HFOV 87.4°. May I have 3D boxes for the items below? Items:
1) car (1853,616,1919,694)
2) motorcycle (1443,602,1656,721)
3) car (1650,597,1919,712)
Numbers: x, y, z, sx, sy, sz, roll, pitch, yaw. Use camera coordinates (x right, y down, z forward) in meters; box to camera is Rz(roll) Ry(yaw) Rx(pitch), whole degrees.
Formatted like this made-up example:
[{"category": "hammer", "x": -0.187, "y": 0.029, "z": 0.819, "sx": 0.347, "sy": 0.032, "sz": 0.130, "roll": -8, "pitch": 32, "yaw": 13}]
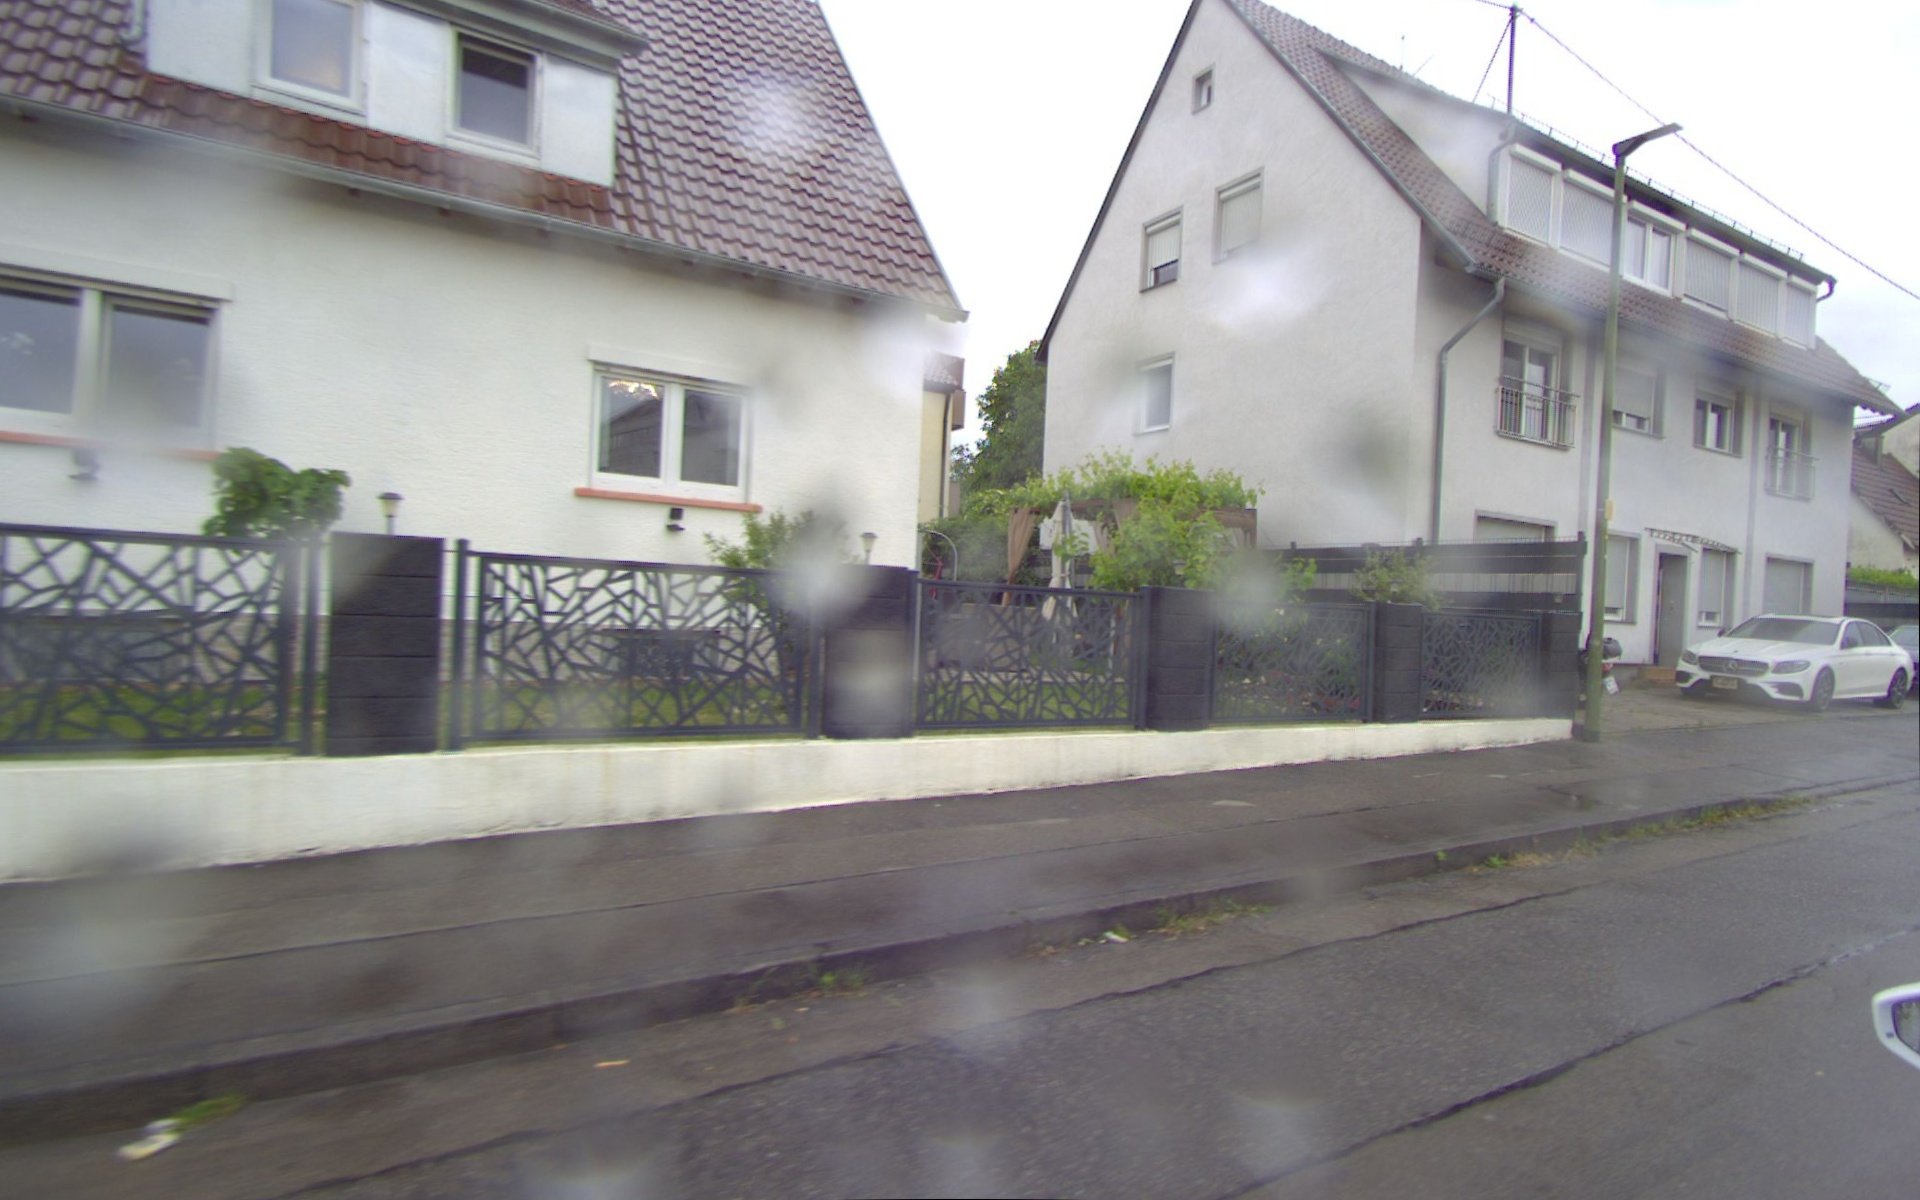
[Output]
[{"category": "car", "x": 20.034, "y": 1.142, "z": 20.307, "sx": 4.522, "sy": 1.387, "sz": 1.815, "roll": 2, "pitch": 4, "yaw": -34}, {"category": "motorcycle", "x": 7.824, "y": 0.766, "z": 13.482, "sx": 0.727, "sy": 1.290, "sz": 2.351, "roll": 2, "pitch": 3, "yaw": -29}, {"category": "car", "x": 13.883, "y": 0.866, "z": 16.741, "sx": 4.838, "sy": 1.530, "sz": 1.983, "roll": 2, "pitch": 4, "yaw": -30}]
